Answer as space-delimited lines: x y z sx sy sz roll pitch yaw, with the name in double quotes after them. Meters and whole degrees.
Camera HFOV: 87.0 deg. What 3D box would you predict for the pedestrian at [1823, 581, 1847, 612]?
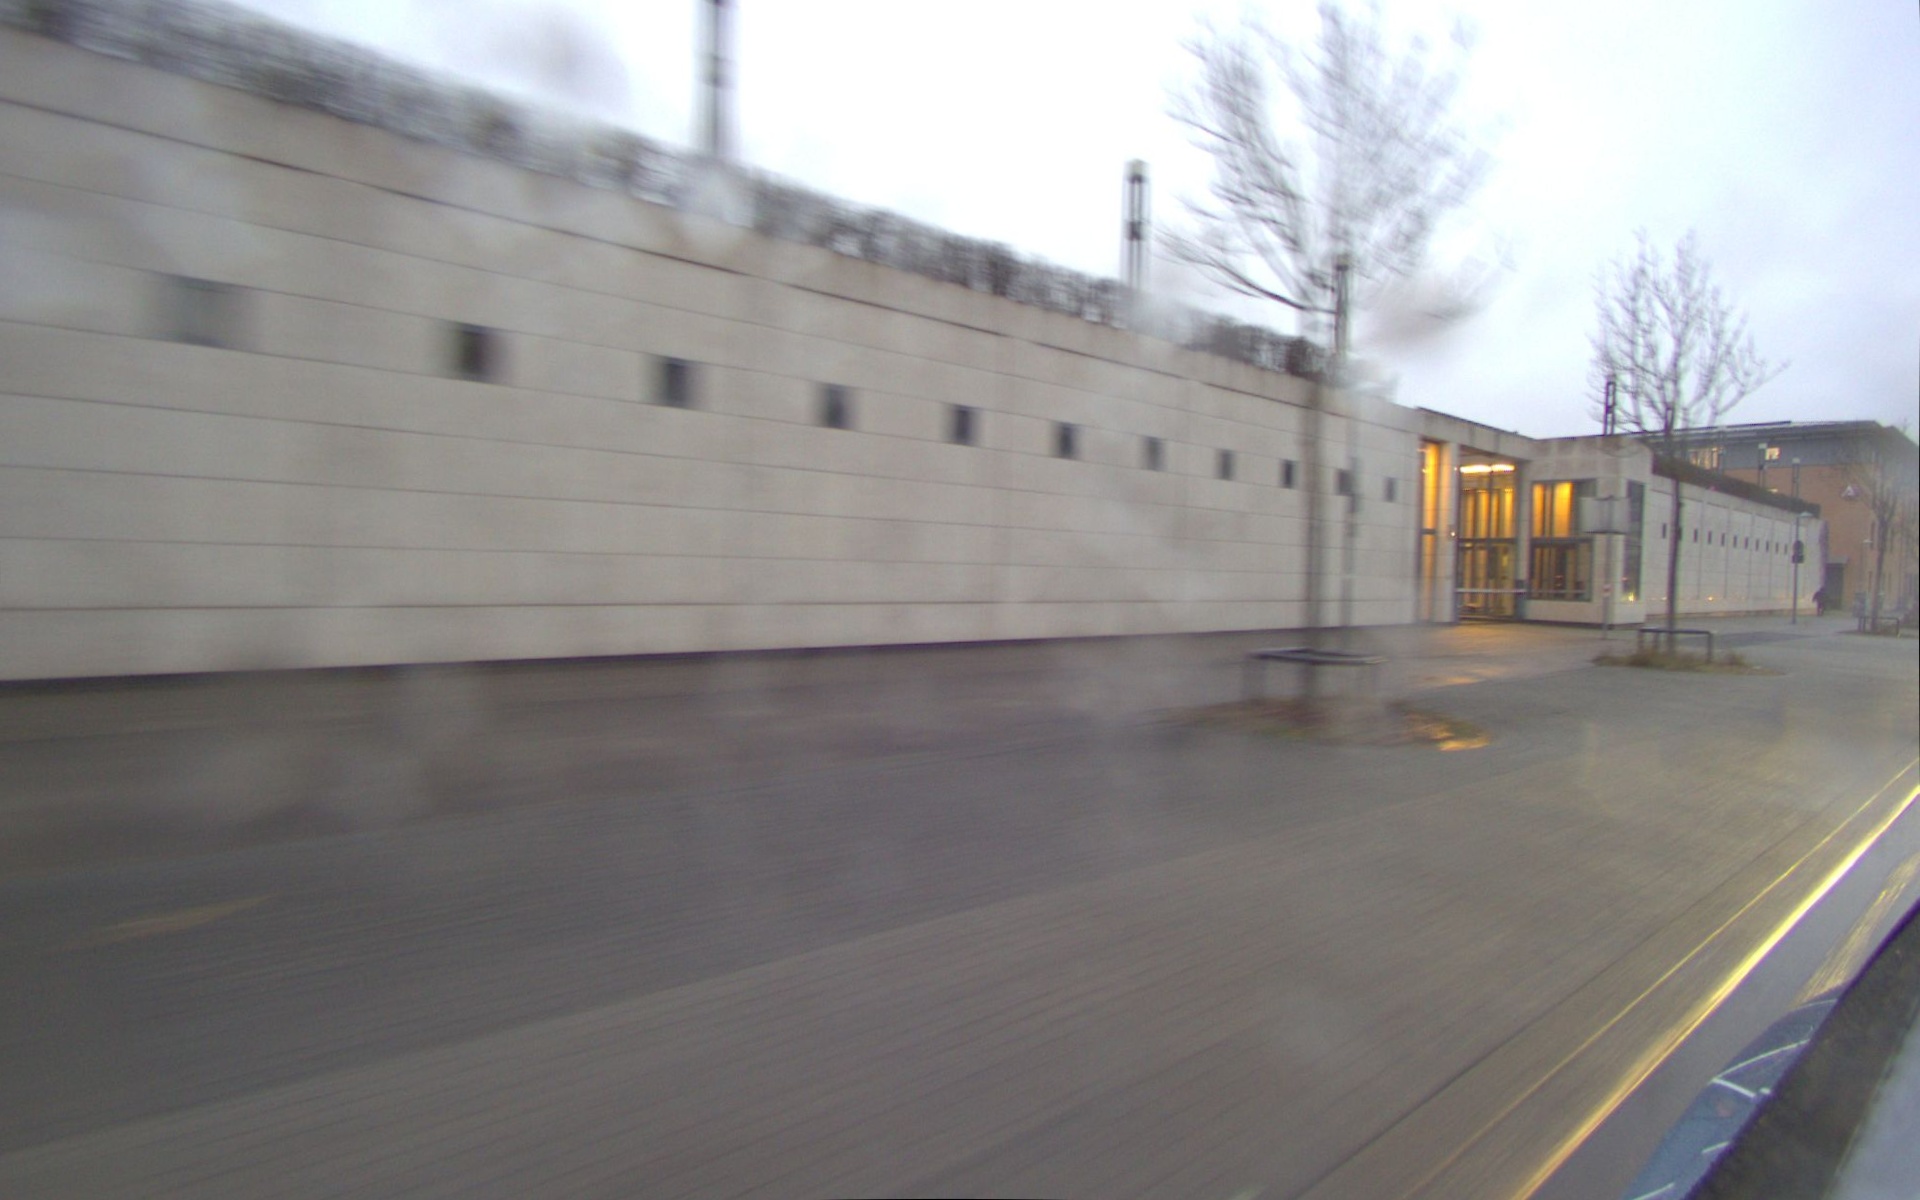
48.707 -0.208 56.340 0.868 1.650 0.813 0 4 -41 "pedestrian"
